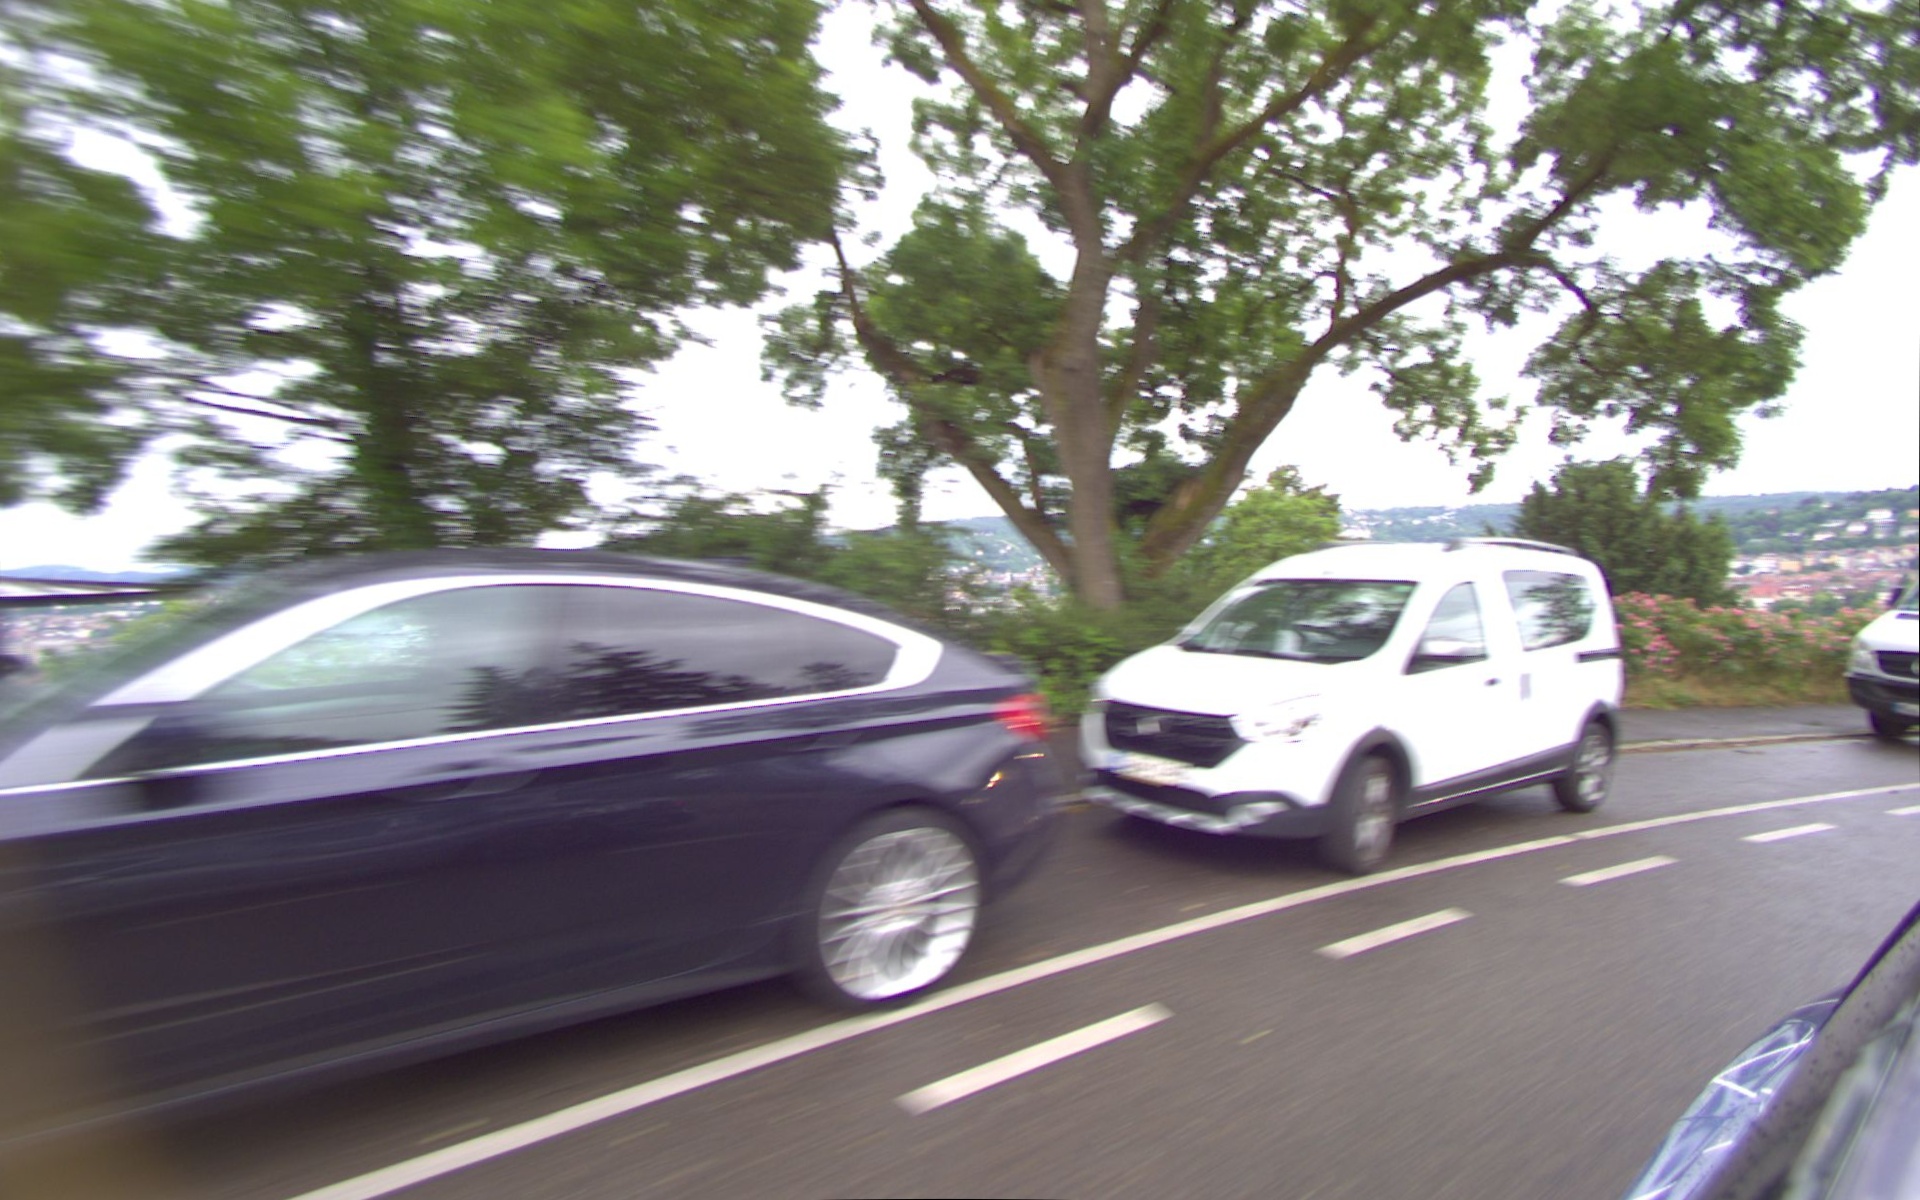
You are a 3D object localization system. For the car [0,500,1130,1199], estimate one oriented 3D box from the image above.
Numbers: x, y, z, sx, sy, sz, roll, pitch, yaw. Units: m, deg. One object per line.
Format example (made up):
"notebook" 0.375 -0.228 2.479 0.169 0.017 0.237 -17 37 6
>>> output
"car" -1.792 0.561 3.366 4.804 1.562 1.865 0 1 -37

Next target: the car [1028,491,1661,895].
"car" 2.686 0.406 6.607 4.340 1.844 1.752 0 1 -36

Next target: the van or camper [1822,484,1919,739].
"van or camper" 12.653 0.177 11.037 5.763 2.612 2.079 1 2 -17
